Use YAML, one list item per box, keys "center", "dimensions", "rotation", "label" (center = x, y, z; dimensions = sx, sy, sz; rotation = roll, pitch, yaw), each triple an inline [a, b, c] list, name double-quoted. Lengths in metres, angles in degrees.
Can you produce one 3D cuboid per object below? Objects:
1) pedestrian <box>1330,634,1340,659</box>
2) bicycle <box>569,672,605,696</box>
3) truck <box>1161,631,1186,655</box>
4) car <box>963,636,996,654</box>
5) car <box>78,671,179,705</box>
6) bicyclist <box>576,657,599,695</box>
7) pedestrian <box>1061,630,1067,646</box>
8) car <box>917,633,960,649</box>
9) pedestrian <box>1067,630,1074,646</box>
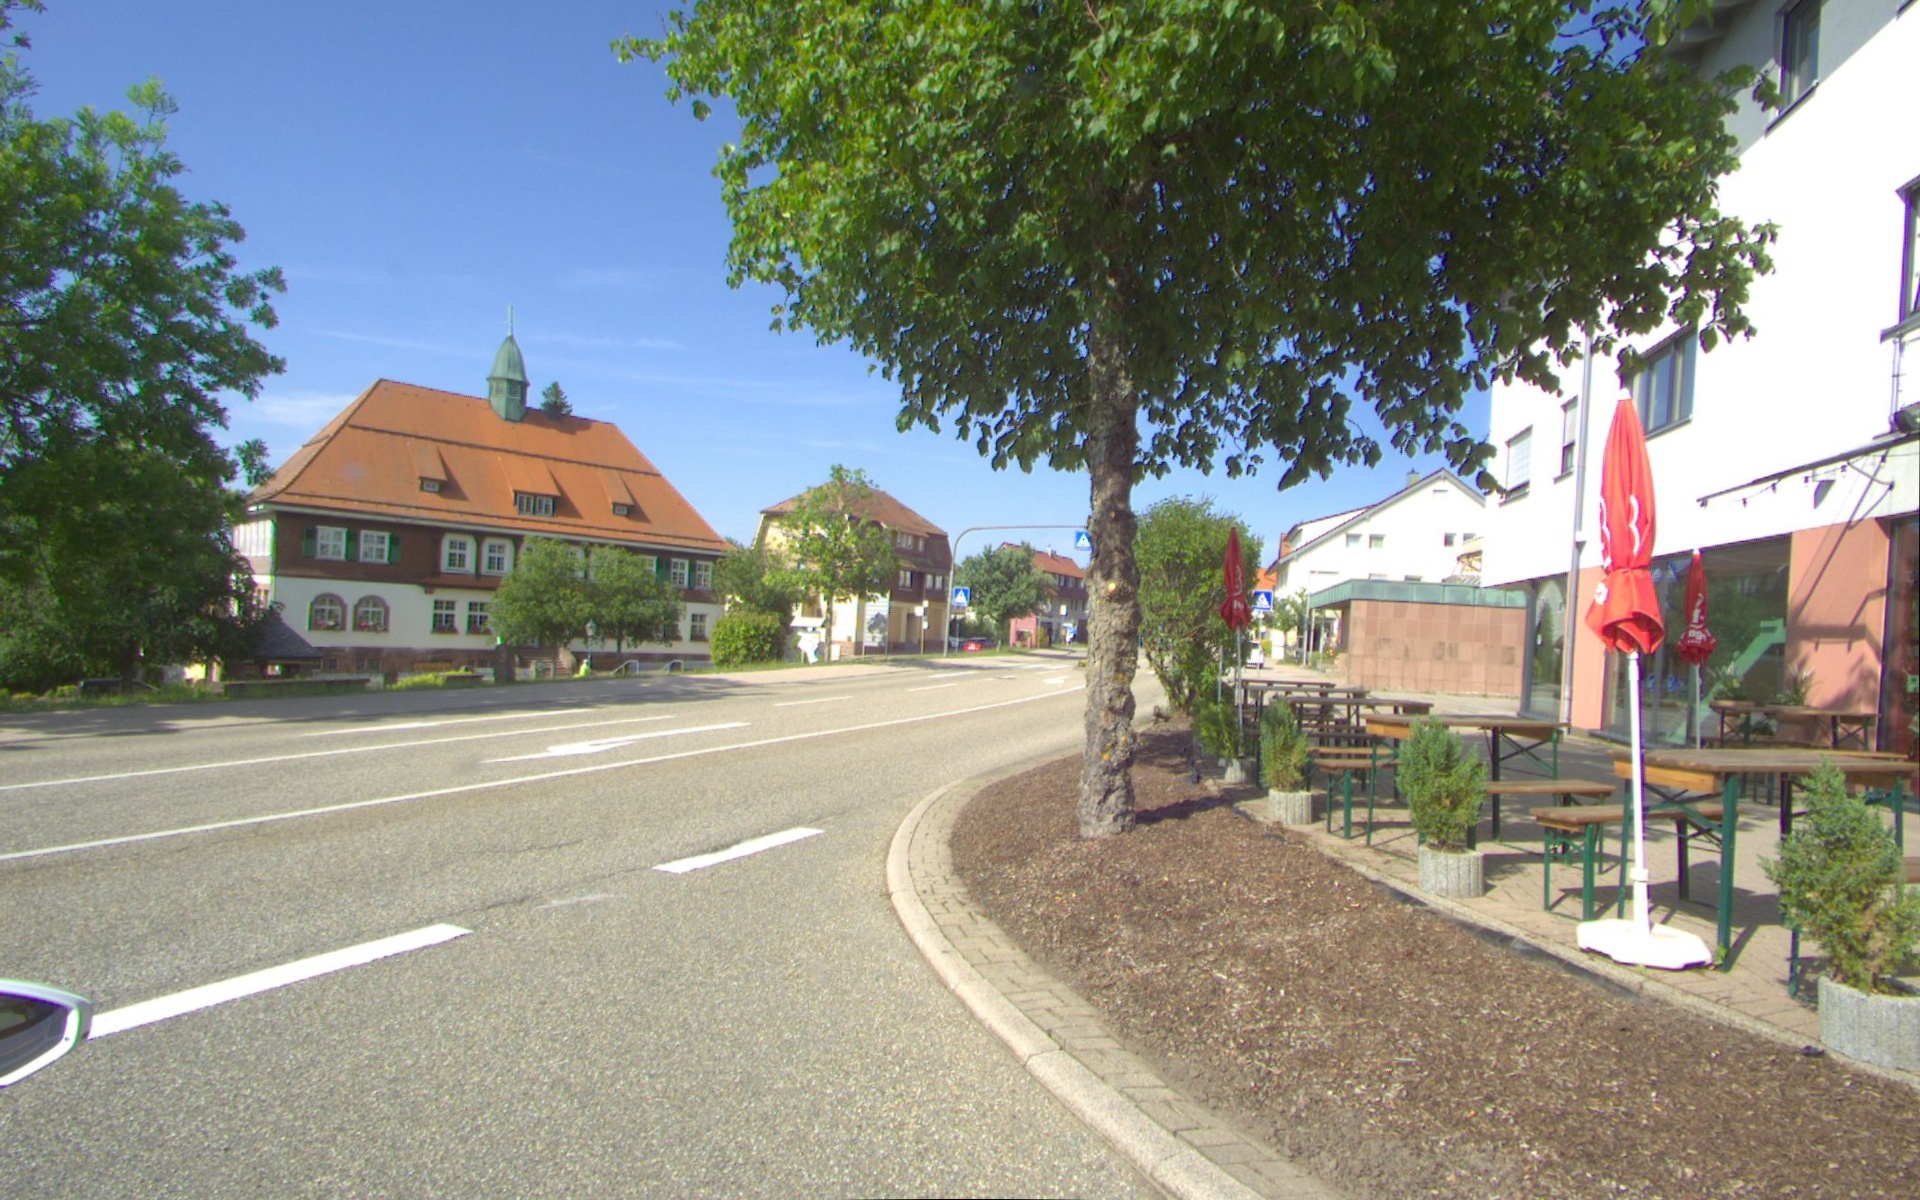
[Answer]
- center: [24.138, 2.976, 64.523]
  dimensions: [0.557, 1.613, 0.484]
  rotation: [0, -1, 16]
  label: "pedestrian"
- center: [-19.389, 4.355, 52.064]
  dimensions: [1.711, 1.205, 0.533]
  rotation: [1, -2, -43]
  label: "bicycle"
- center: [23.328, 4.666, 109.254]
  dimensions: [1.964, 2.372, 6.487]
  rotation: [2, -1, 17]
  label: "truck"
- center: [1.643, 3.695, 82.060]
  dimensions: [1.744, 1.451, 3.710]
  rotation: [-1, -2, 17]
  label: "car"
- center: [-41.687, 4.372, 50.252]
  dimensions: [1.696, 1.463, 3.751]
  rotation: [-2, -2, 44]
  label: "car"
- center: [-19.380, 3.935, 52.085]
  dimensions: [0.988, 1.949, 0.577]
  rotation: [1, -2, -43]
  label: "bicyclist"
- center: [11.461, 4.228, 110.476]
  dimensions: [0.489, 1.771, 0.587]
  rotation: [-1, -1, 31]
  label: "pedestrian"
- center: [-1.988, 3.831, 92.816]
  dimensions: [3.648, 1.451, 1.774]
  rotation: [-2, -2, 19]
  label: "car"
- center: [12.152, 4.213, 110.114]
  dimensions: [0.489, 1.771, 0.581]
  rotation: [-1, -1, 31]
  label: "pedestrian"
